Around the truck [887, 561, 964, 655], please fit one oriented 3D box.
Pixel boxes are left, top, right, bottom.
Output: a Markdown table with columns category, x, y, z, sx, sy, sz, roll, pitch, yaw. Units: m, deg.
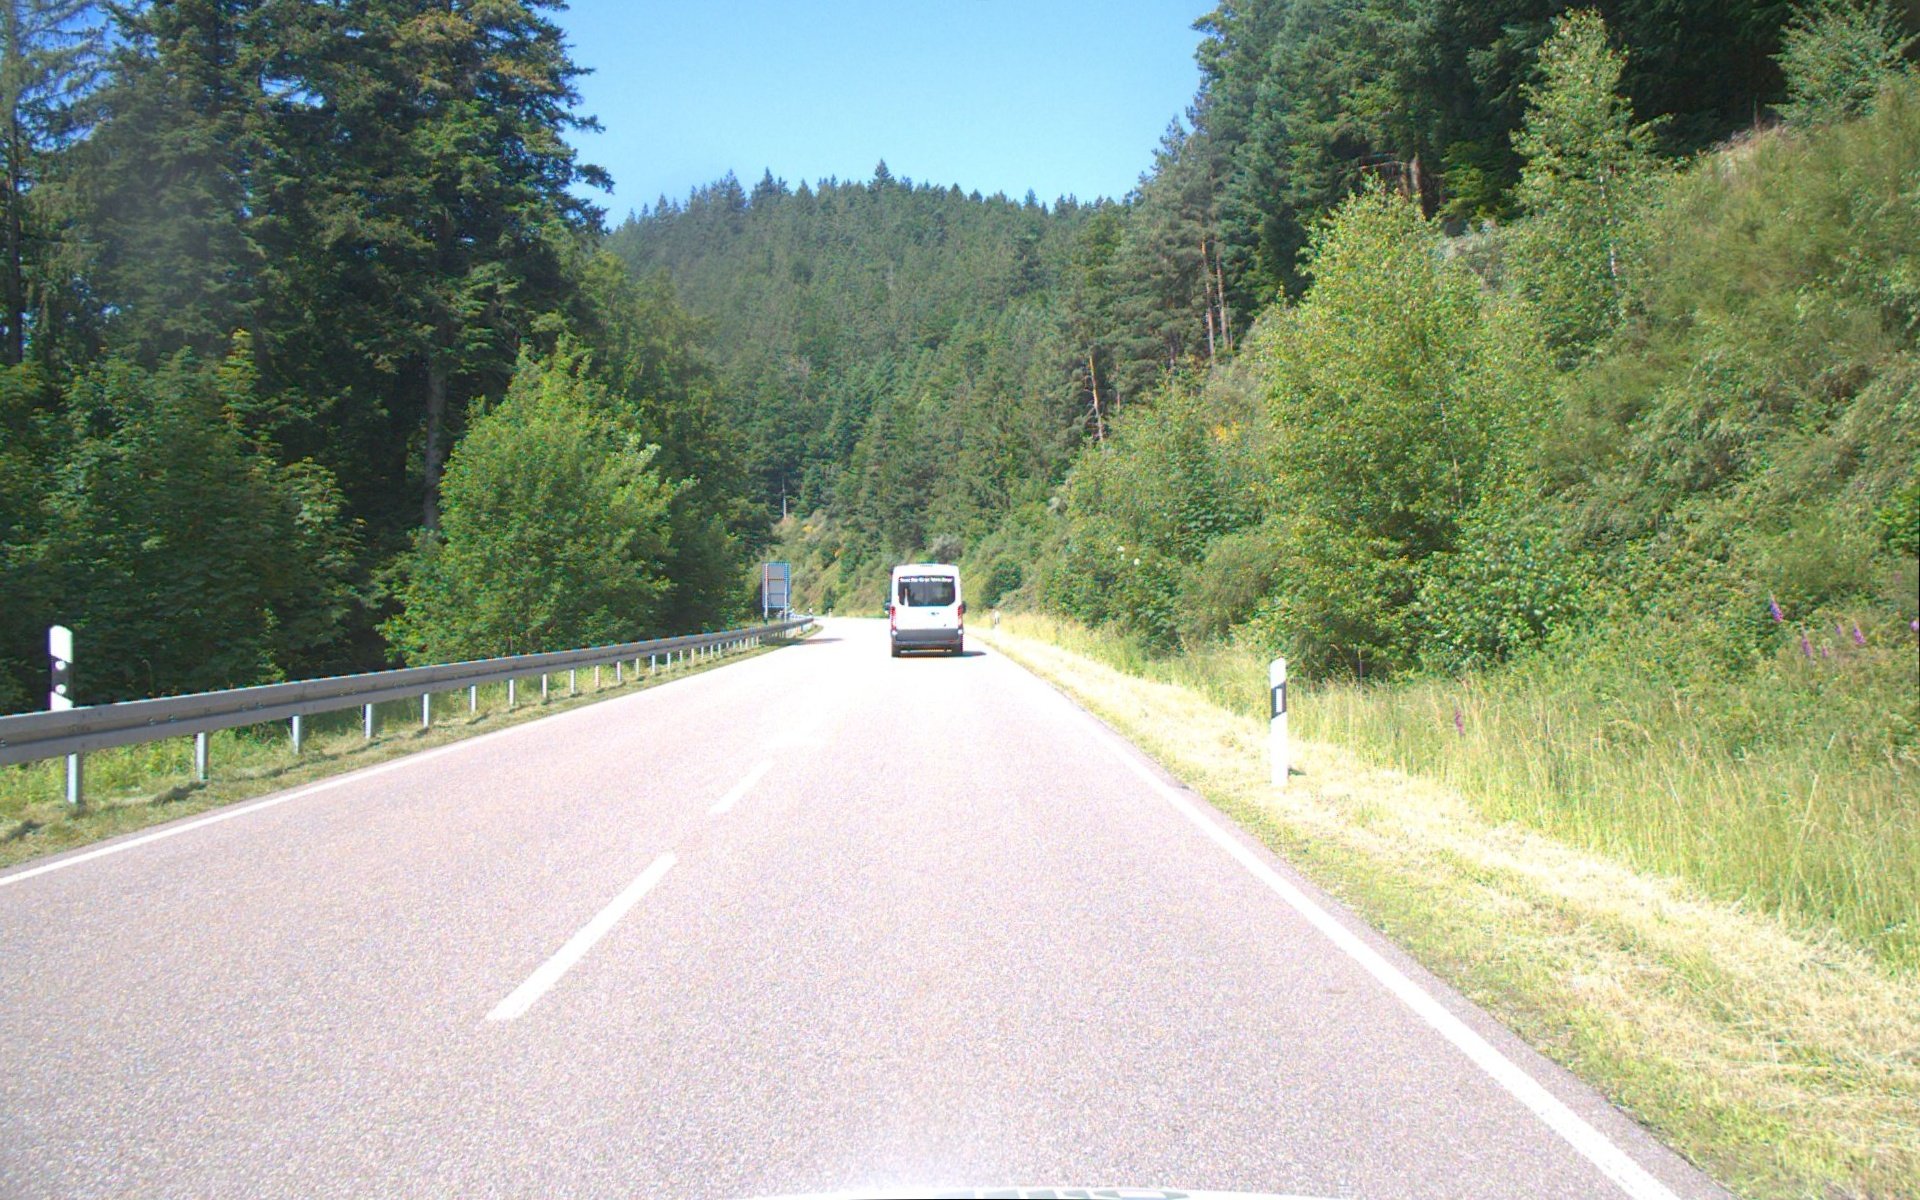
| category | x | y | z | sx | sy | sz | roll | pitch | yaw |
| --- | --- | --- | --- | --- | --- | --- | --- | --- | --- |
| truck | -0.925 | 0.236 | 46.550 | 2.041 | 2.503 | 4.874 | 0 | 0 | 0 |
